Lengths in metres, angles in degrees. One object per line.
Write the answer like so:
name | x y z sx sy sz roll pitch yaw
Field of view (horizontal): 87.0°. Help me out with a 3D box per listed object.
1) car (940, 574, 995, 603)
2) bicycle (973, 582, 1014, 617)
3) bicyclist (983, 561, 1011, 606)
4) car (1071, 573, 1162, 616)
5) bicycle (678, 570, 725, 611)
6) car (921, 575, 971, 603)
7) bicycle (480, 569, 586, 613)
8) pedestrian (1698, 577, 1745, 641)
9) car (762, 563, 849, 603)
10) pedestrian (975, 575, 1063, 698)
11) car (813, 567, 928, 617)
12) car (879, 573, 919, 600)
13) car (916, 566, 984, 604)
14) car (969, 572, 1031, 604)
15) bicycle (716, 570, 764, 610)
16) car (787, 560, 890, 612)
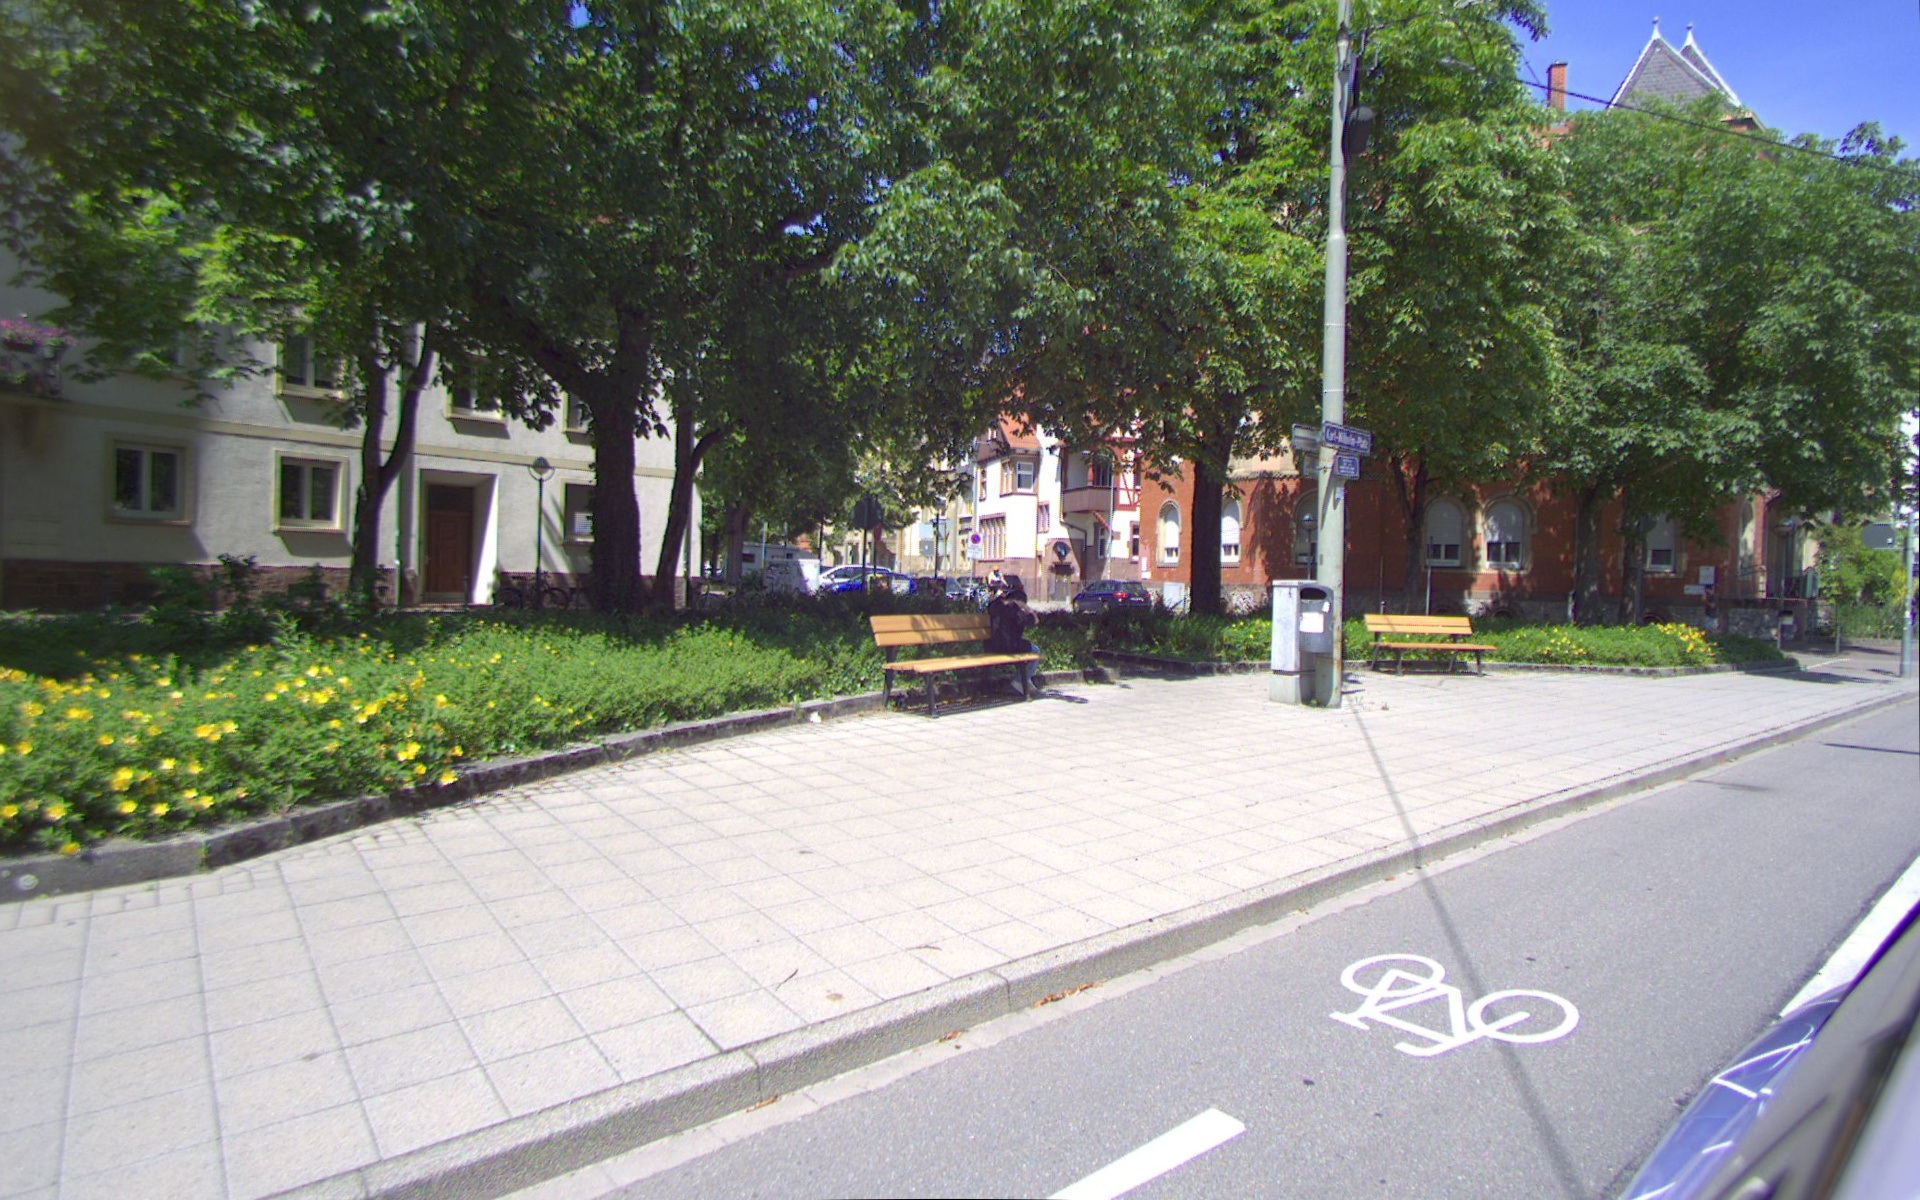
car | 0.373 -0.648 58.682 1.897 1.638 4.318 0 0 -19
bicycle | 1.277 -0.032 39.740 0.935 1.279 3.751 0 0 -9
bicyclist | 1.413 -0.630 38.871 0.856 1.717 1.256 0 0 -9
car | 6.269 -0.227 41.026 1.897 1.638 4.318 0 0 -19
bicycle | -6.781 -0.256 26.475 0.736 1.024 2.273 0 0 -26
car | -0.925 -0.685 63.253 1.897 1.638 4.318 0 0 -19
bicycle | -10.259 -0.219 24.375 2.230 1.024 0.751 -1 0 -41
pedestrian | 22.381 0.256 29.760 0.826 1.846 0.671 2 1 12
car | -8.091 -0.878 52.938 4.219 2.029 1.942 0 0 -18
pedestrian | 0.592 0.339 10.075 0.562 1.156 0.718 3 2 33
car | -3.550 -0.318 40.016 4.219 1.903 1.942 0 0 -18
car | -4.509 -0.999 74.462 1.897 1.897 4.318 0 0 -19
car | -0.538 -0.675 46.750 1.897 1.638 4.534 0 0 -18
car | 2.060 -0.613 54.075 1.897 1.638 4.318 0 0 -19
bicycle | -5.874 -0.265 26.904 0.736 1.024 2.273 0 0 -26
car | -5.378 -0.624 44.829 4.219 2.219 1.942 0 0 -18
